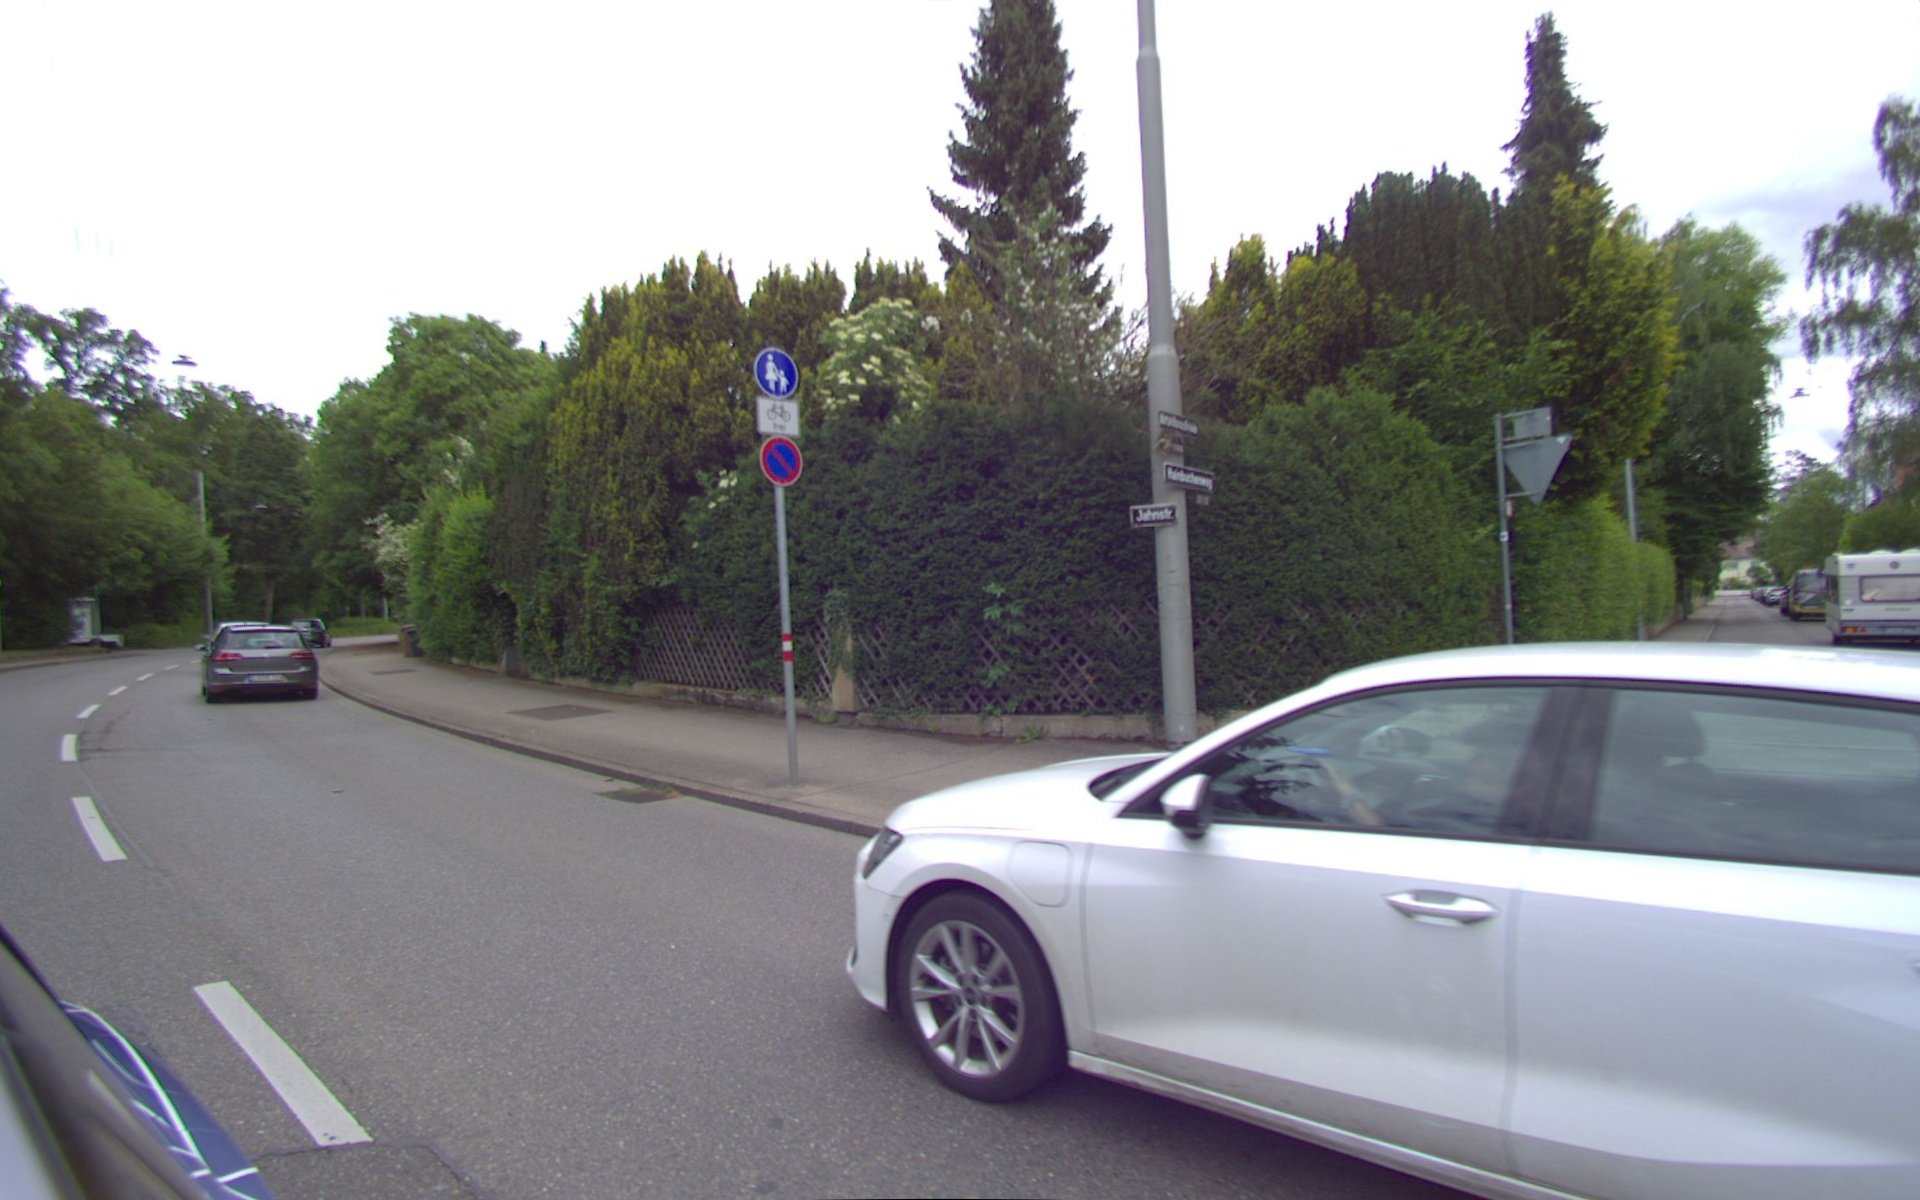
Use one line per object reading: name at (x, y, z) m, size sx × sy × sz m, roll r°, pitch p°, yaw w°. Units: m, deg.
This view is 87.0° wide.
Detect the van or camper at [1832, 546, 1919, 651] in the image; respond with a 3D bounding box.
van or camper at (24.114, -0.049, 25.760) m, size 2.737 × 2.441 × 5.576 m, roll -1°, pitch -1°, yaw 40°

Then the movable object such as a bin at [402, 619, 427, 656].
movable object such as a bin at (-17.683, 1.211, 32.816) m, size 0.620 × 1.153 × 0.648 m, roll -3°, pitch 0°, yaw -34°

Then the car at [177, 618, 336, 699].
car at (-13.756, 1.093, 19.710) m, size 1.891 × 1.409 × 3.911 m, roll 2°, pitch -3°, yaw -45°

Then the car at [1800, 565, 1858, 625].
car at (39.504, -0.217, 46.031) m, size 1.887 × 2.585 × 4.698 m, roll -1°, pitch -1°, yaw 41°

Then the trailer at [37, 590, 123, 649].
trailer at (-45.163, 0.978, 52.021) m, size 3.073 × 2.921 × 1.598 m, roll 0°, pitch -2°, yaw -28°

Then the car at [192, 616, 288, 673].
car at (-20.464, 1.235, 28.703) m, size 1.879 × 1.465 × 3.802 m, roll -1°, pitch -1°, yaw -41°

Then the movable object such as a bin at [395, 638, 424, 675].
movable object such as a bin at (-18.231, 1.855, 33.501) m, size 0.731 × 1.150 × 0.648 m, roll -3°, pitch 0°, yaw -34°

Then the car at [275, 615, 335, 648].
car at (-35.345, 1.660, 54.708) m, size 1.965 × 1.630 × 4.013 m, roll 2°, pitch -1°, yaw -22°

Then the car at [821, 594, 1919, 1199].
car at (1.714, 0.751, 2.772) m, size 4.194 × 1.454 × 1.790 m, roll -1°, pitch -2°, yaw 39°

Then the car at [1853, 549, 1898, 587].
car at (57.087, -1.962, 63.156) m, size 1.999 × 2.195 × 3.945 m, roll -1°, pitch -1°, yaw 41°
